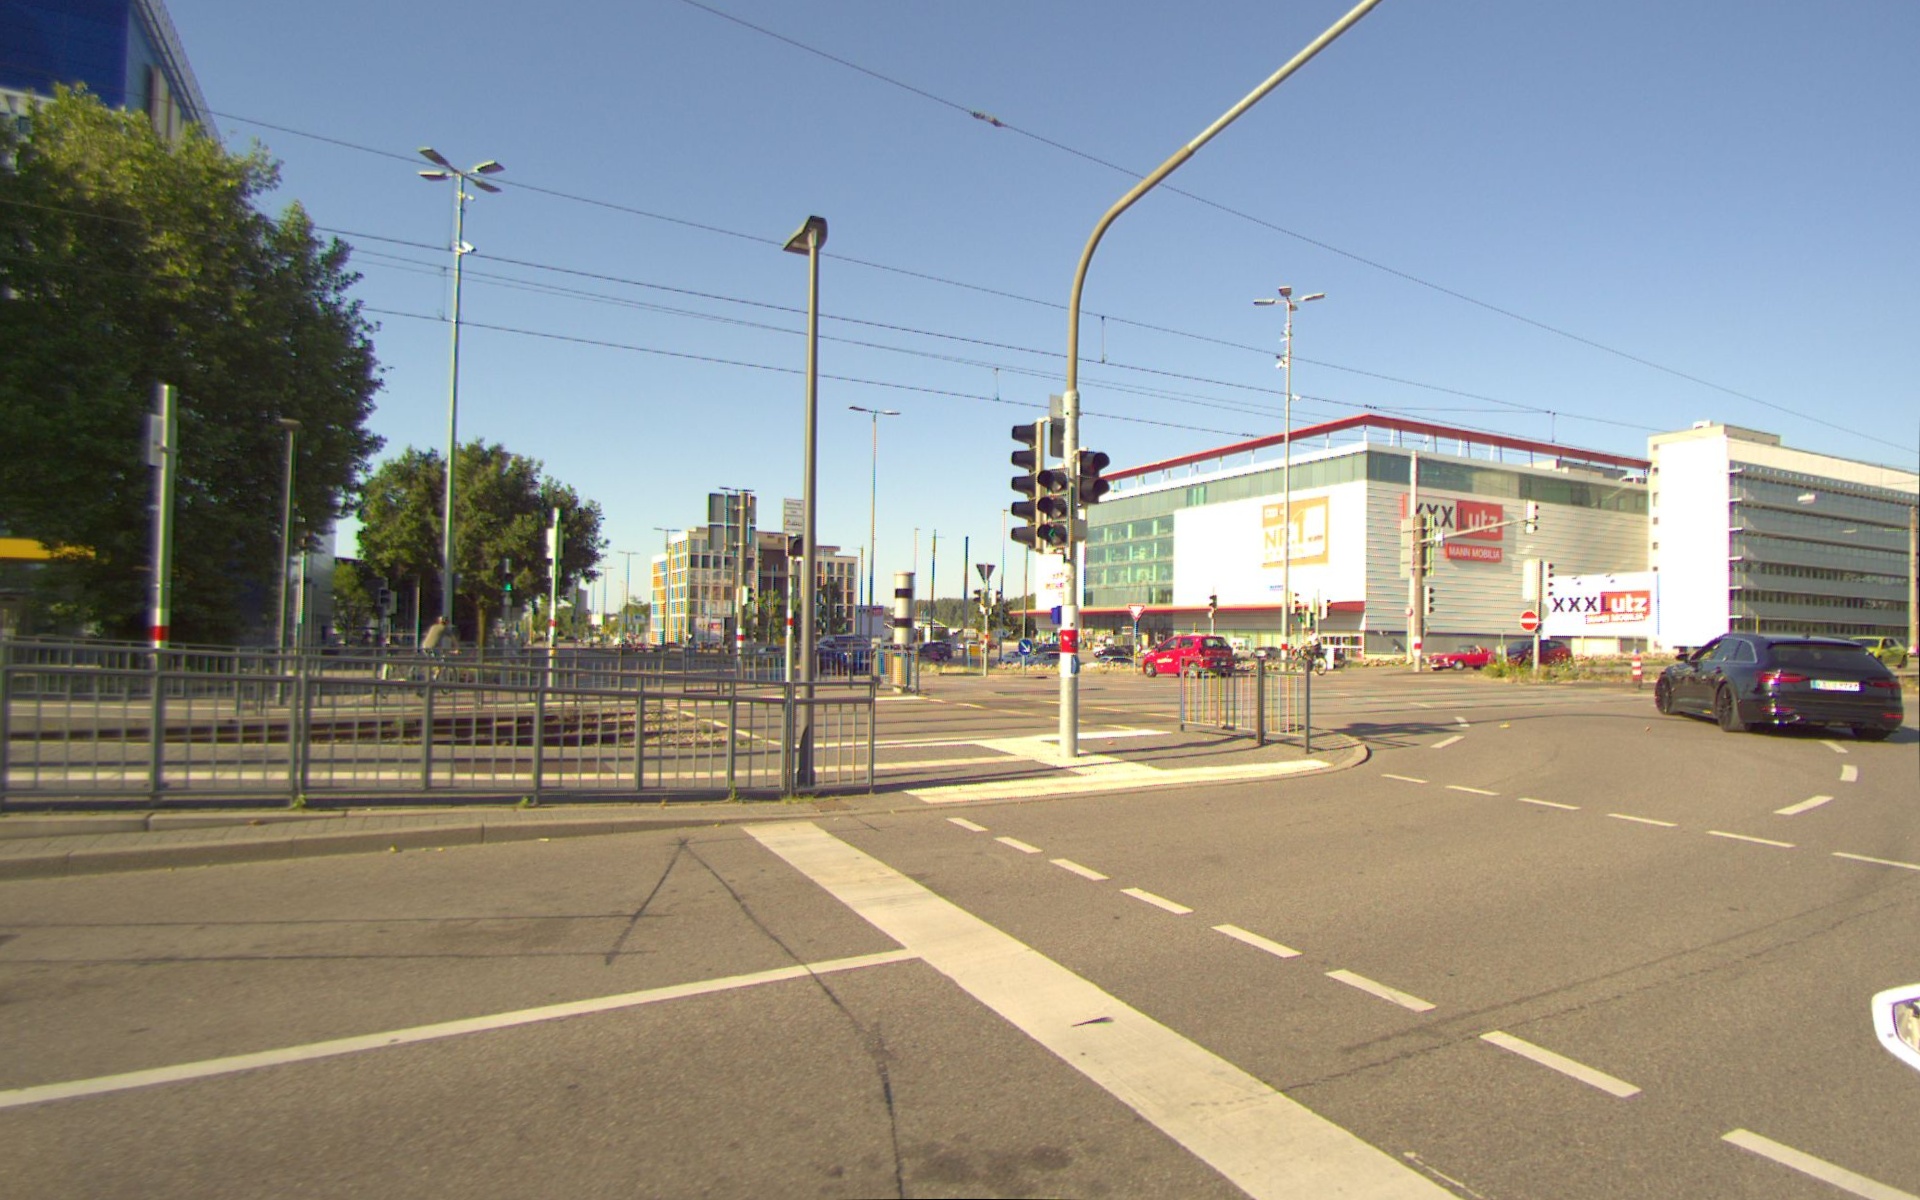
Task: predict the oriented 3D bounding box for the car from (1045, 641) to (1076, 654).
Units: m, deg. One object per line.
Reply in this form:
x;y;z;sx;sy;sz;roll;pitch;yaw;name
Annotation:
14.069;6.661;140.709;3.960;1.640;1.861;1;1;-35;car

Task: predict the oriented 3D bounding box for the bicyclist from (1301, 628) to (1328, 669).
13.458;1.838;38.125;0.740;1.543;0.586;1;1;-22;bicyclist

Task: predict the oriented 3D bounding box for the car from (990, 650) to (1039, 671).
4.809;5.304;88.527;3.957;1.614;1.918;1;1;-33;car

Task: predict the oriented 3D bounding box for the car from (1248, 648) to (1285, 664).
35.598;6.463;116.589;3.953;1.725;1.912;1;1;-30;car

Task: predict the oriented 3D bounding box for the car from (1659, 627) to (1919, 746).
12.333;1.182;15.281;1.884;1.477;4.090;1;-1;22;car

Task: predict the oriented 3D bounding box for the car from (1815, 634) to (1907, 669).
39.984;2.261;44.575;4.057;1.466;1.776;1;-3;-29;car

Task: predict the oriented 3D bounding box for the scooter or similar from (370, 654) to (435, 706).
-11.730;1.673;21.184;0.774;1.028;1.066;2;-3;-4;scooter or similar

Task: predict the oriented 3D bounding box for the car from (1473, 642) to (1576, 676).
26.025;2.737;46.317;4.068;1.495;1.934;1;-4;-20;car

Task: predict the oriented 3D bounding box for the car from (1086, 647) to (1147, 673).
11.811;4.471;75.650;4.371;1.733;1.981;1;1;-34;car

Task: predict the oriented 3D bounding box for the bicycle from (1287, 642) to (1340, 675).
13.416;2.210;38.118;1.962;1.183;0.586;1;1;-22;bicycle

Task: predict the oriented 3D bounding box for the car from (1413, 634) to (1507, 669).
24.838;2.569;49.944;3.932;1.664;1.822;0;-3;-15;car

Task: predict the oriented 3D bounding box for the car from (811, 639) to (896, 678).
-4.487;2.457;41.745;1.993;1.517;4.225;2;-5;-30;car

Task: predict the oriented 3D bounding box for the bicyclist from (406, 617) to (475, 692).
-11.842;1.237;22.953;0.807;1.638;1.486;2;-3;-4;bicyclist

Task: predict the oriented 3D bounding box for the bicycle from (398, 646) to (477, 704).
-11.842;1.671;22.849;0.701;1.234;2.279;2;-3;-4;bicycle

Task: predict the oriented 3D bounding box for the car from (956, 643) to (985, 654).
1.577;7.251;149.756;3.948;1.468;1.866;1;1;-27;car

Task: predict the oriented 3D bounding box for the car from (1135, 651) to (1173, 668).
22.489;6.906;116.585;3.953;1.838;1.984;1;1;-30;car

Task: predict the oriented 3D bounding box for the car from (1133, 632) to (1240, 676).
7.923;1.948;35.413;1.750;1.478;3.559;2;-5;-29;car
